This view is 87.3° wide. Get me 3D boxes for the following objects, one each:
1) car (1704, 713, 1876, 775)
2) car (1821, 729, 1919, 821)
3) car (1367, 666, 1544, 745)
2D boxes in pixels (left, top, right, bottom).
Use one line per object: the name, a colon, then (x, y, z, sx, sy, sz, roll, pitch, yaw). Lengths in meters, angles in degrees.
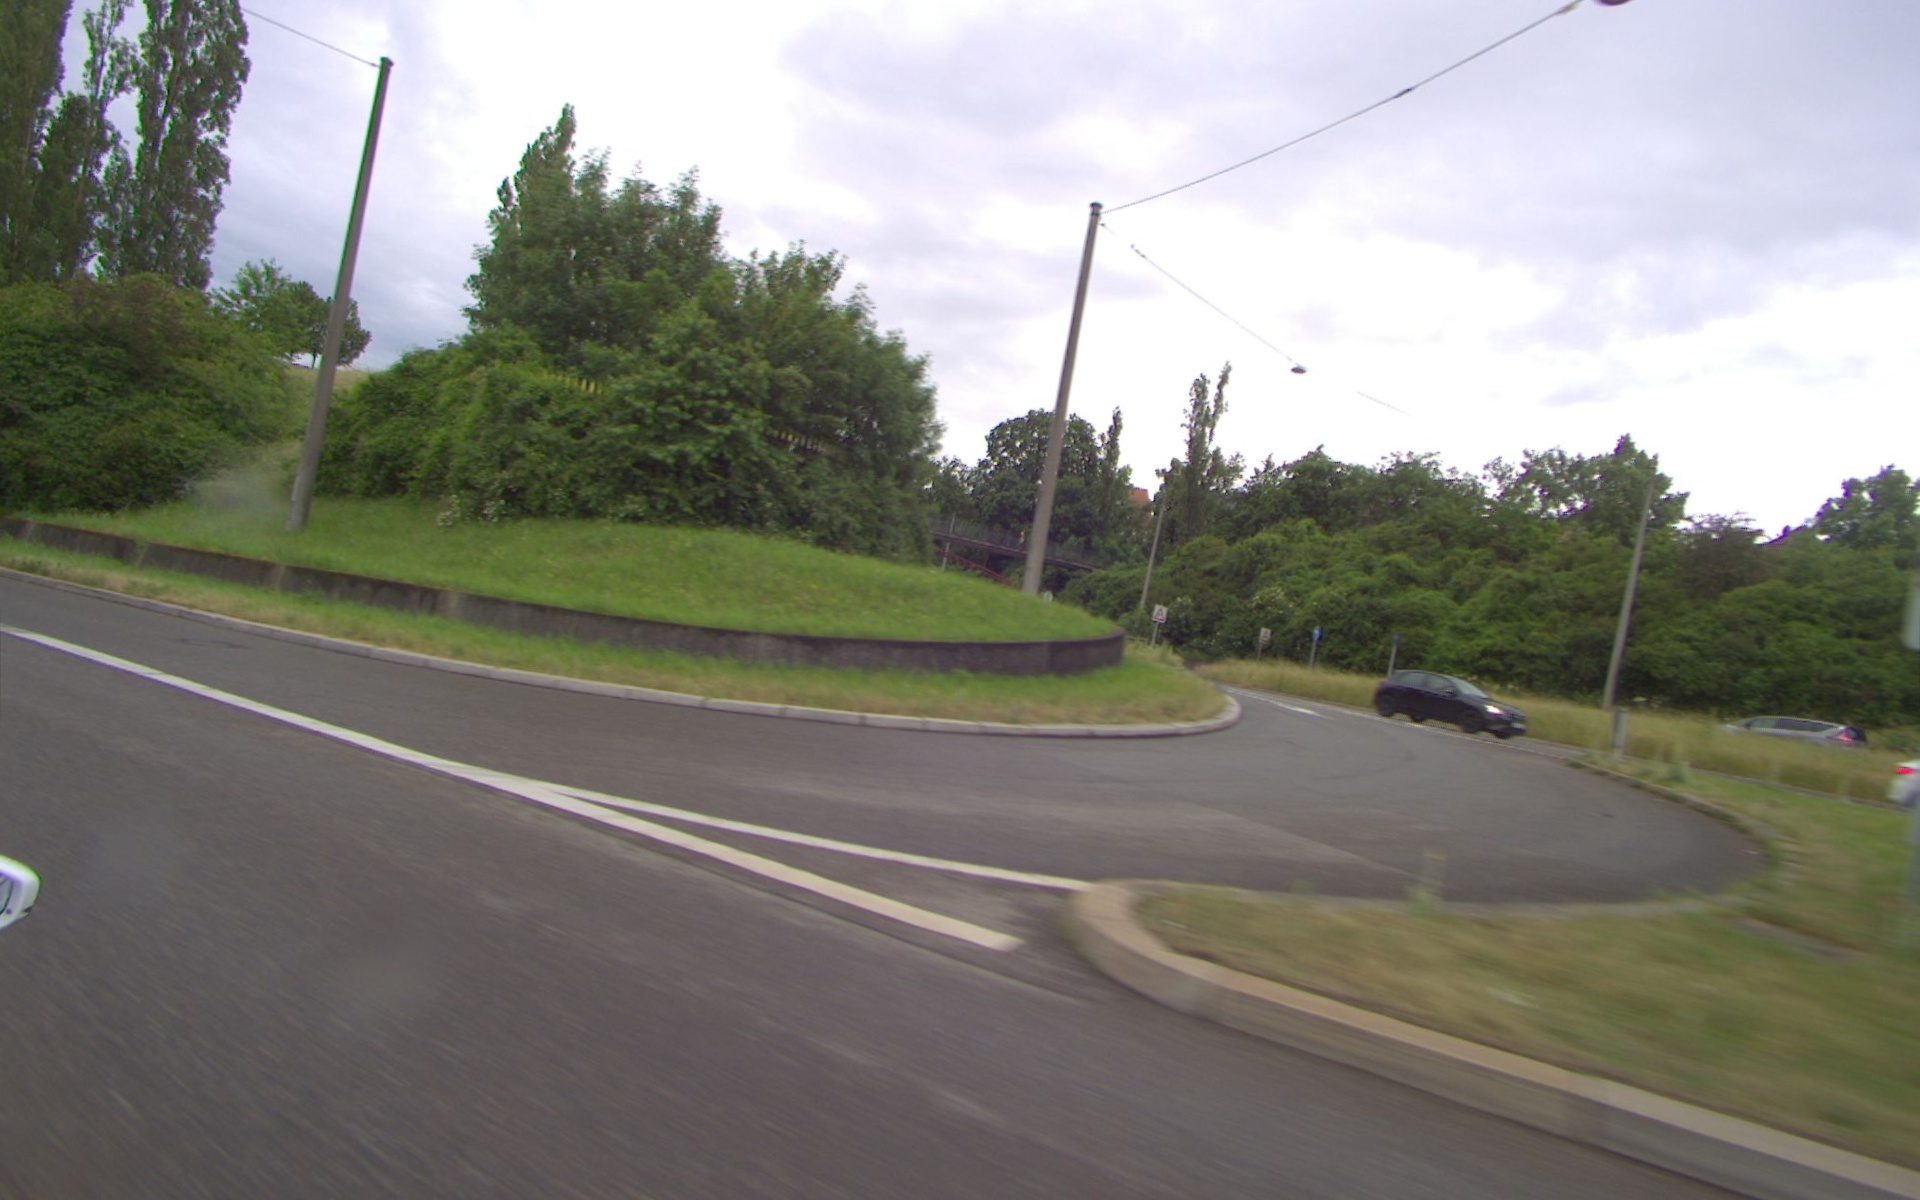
car: (28.850, 4.989, 35.141, 1.763, 1.364, 4.205, 11, -4, -24)
car: (18.953, 3.541, 18.444, 2.053, 1.445, 4.239, 9, -1, -28)
car: (13.297, 2.806, 27.202, 1.659, 1.430, 3.886, 9, -2, -31)
